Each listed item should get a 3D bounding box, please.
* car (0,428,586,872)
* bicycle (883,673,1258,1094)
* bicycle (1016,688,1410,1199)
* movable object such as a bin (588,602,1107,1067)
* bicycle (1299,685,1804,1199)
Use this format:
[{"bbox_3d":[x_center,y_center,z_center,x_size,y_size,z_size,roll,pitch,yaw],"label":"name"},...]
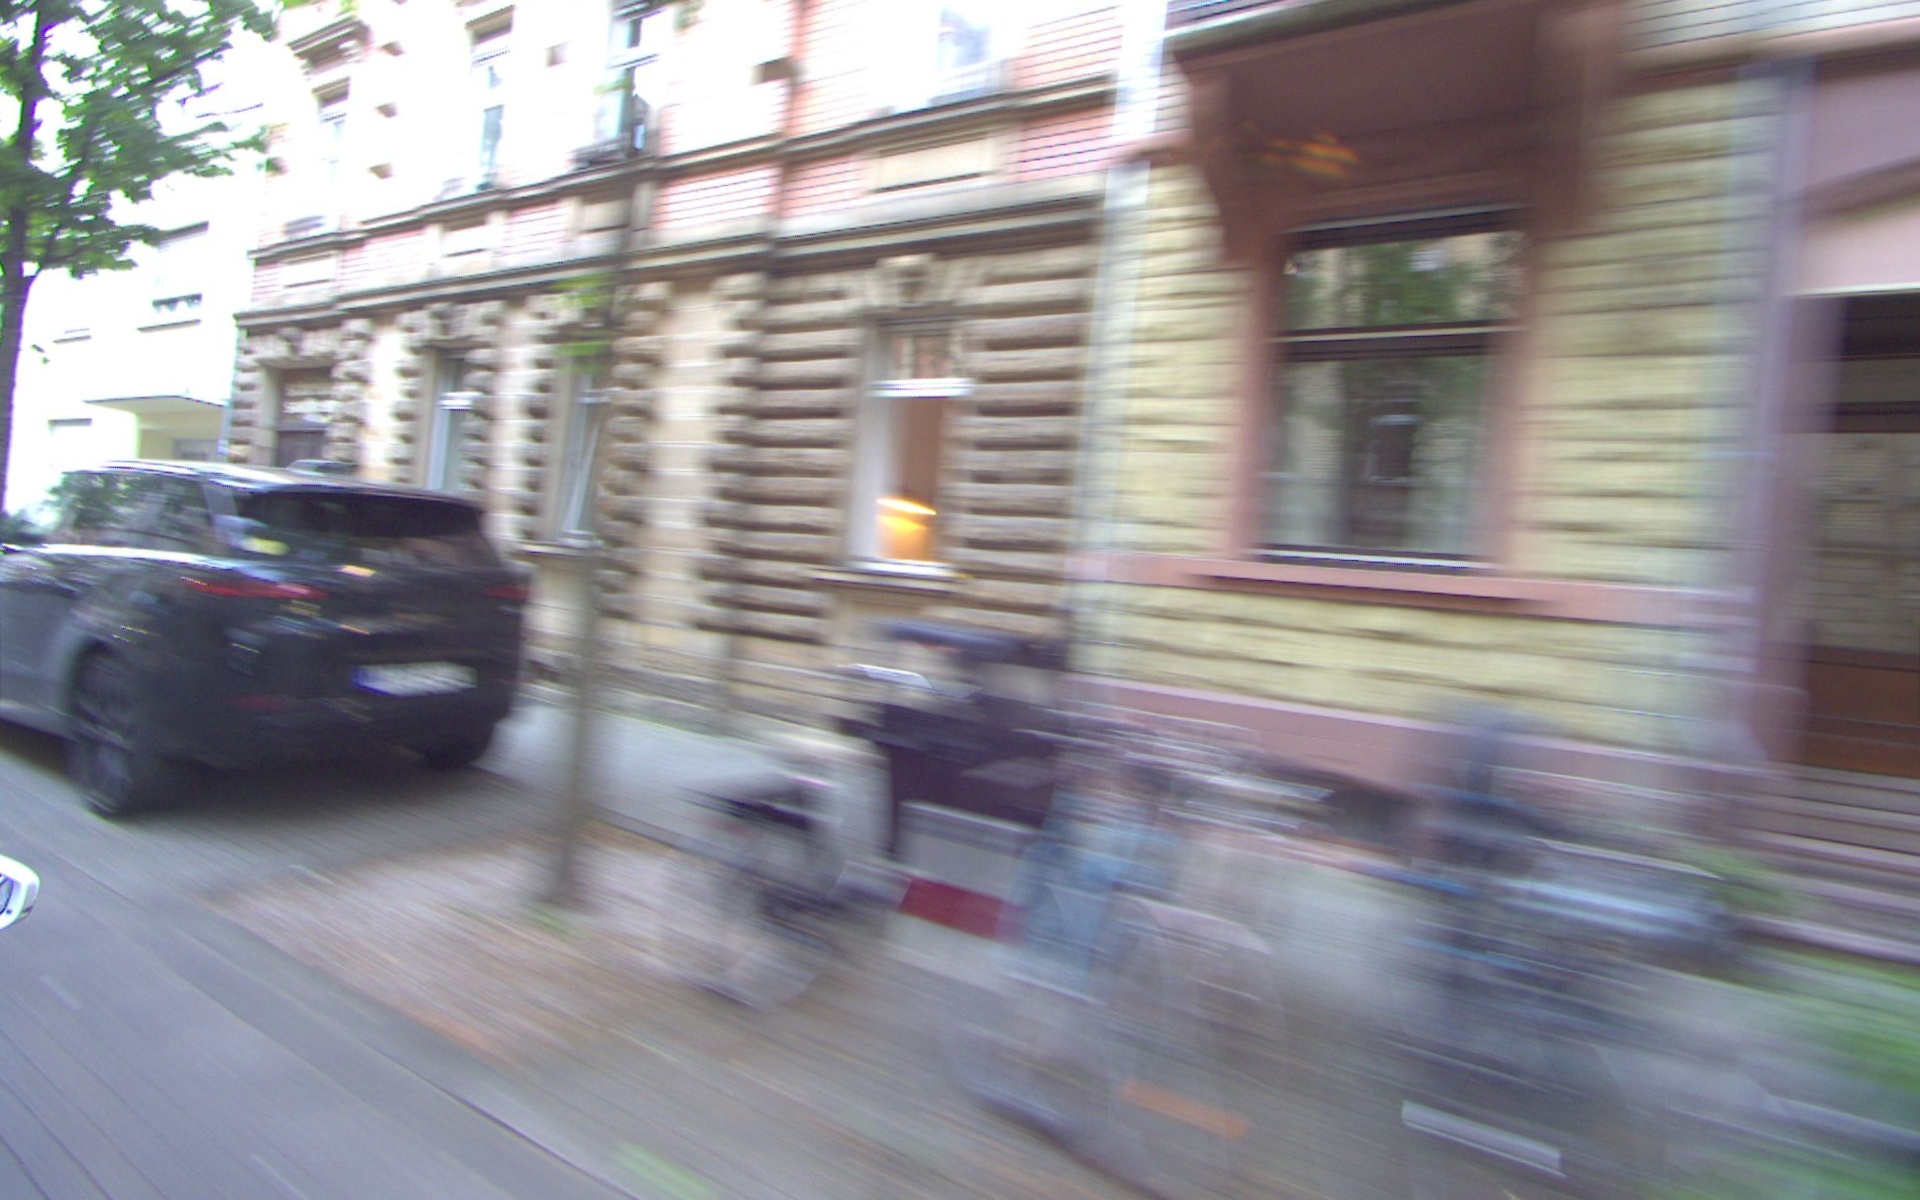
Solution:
[{"bbox_3d":[-4.793,0.076,6.297,4.731,1.856,2.015,6,0,32],"label":"car"},{"bbox_3d":[0.510,0.910,3.762,0.573,1.157,1.659,6,-2,35],"label":"bicycle"},{"bbox_3d":[0.926,0.943,3.265,0.573,1.212,1.698,6,-1,35],"label":"bicycle"},{"bbox_3d":[-0.281,0.741,4.087,0.758,1.322,2.215,6,1,34],"label":"movable object such as a bin"},{"bbox_3d":[1.592,0.958,2.809,0.788,1.310,1.763,6,1,31],"label":"bicycle"}]
